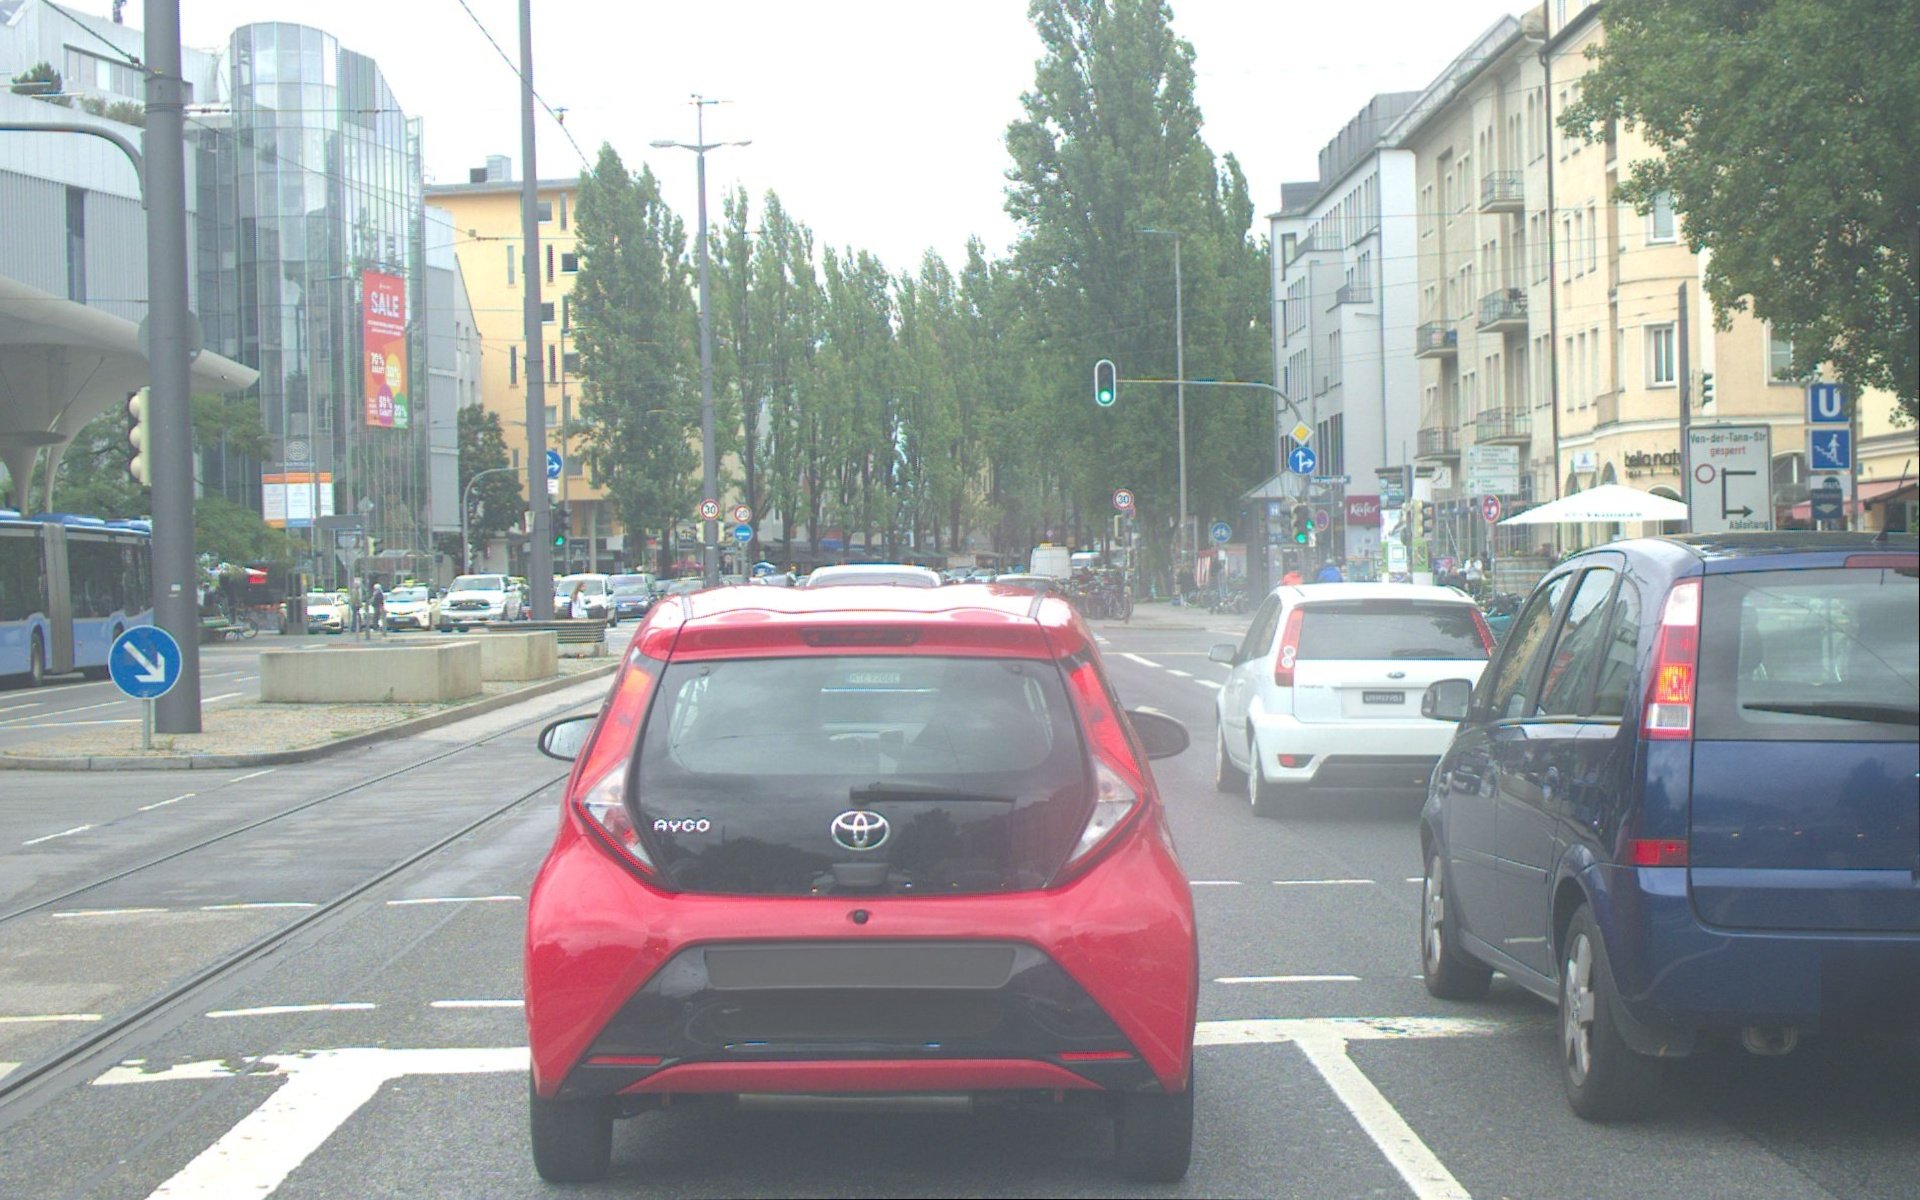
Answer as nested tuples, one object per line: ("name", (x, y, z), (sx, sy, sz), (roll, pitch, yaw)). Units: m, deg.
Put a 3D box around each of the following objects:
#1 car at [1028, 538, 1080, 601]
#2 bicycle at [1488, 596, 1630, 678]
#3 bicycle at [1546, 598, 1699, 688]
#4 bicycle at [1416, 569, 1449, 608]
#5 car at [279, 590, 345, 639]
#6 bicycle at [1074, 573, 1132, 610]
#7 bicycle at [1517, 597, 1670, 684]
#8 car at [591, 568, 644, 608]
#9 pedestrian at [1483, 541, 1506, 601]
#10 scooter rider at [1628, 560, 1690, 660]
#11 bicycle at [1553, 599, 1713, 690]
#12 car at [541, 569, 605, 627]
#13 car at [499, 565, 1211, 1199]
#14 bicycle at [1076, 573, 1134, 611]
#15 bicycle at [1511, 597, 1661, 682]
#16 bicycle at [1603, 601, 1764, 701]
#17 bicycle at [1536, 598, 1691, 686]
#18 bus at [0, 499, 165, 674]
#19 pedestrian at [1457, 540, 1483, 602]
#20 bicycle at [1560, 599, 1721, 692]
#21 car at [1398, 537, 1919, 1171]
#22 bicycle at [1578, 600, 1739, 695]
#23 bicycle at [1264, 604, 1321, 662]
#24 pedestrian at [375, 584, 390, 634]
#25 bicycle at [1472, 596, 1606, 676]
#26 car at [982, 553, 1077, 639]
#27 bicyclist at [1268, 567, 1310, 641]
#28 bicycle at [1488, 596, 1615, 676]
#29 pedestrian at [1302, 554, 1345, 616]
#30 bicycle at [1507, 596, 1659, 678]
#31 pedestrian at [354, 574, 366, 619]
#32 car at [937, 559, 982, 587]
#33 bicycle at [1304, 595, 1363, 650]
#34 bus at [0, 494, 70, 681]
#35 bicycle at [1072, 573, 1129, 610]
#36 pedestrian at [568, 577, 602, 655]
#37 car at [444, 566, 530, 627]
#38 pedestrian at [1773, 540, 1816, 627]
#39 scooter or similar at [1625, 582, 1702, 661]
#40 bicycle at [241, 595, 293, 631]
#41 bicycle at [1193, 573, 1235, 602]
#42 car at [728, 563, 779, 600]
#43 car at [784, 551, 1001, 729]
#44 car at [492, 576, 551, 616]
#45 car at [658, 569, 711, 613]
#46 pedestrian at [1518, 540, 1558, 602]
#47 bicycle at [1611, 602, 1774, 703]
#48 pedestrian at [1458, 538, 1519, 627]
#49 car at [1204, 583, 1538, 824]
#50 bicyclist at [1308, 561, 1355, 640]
("car", (4.148, -1.356, 153.010), (2.107, 2.709, 4.804), (-2, 1, 0))
("bicycle", (7.608, 0.457, 43.726), (1.840, 0.992, 0.324), (1, 2, 37))
("bicycle", (7.735, 0.496, 40.186), (1.841, 0.992, 0.374), (1, 2, 44))
("bicycle", (13.298, -0.331, 96.860), (0.494, 1.055, 1.867), (-1, 1, -5))
("car", (-22.346, 0.471, 118.413), (1.993, 1.531, 4.416), (-2, 1, -13))
("bicycle", (4.573, -0.266, 110.094), (1.801, 1.154, 0.486), (-1, 1, 26))
("bicycle", (7.648, 0.481, 41.560), (1.840, 0.992, 0.374), (1, 2, 37))
("car", (-12.729, -0.471, 127.818), (1.677, 1.391, 4.233), (-2, 1, -3))
("pedestrian", (14.769, -0.796, 95.057), (0.561, 1.604, 0.567), (-1, 4, 13))
("scooter rider", (9.877, 0.141, 48.580), (0.700, 1.384, 0.643), (-1, 0, -2))
("bicycle", (7.738, 0.503, 39.563), (1.840, 0.992, 0.374), (1, 2, 38))
("car", (-12.860, -0.081, 114.359), (1.786, 1.849, 4.219), (-2, 1, -3))
("car", (-0.225, 0.642, 9.327), (1.605, 1.456, 3.130), (0, 1, 1))
("bicycle", (4.573, -0.251, 108.601), (1.803, 1.154, 0.547), (-1, 1, 38))
("bicycle", (7.696, 0.474, 42.308), (1.840, 0.992, 0.374), (1, 2, 37))
("bicycle", (7.704, 0.533, 36.674), (0.374, 0.992, 1.841), (-2, 2, -40))
("bicycle", (7.766, 0.489, 40.924), (1.840, 0.992, 0.374), (1, 2, 37))
("bus", (-16.956, -0.236, 63.678), (2.660, 2.997, 7.513), (-3, 1, -1))
("pedestrian", (14.093, -0.805, 94.967), (0.566, 1.665, 0.562), (0, 4, 22))
("bicycle", (7.686, 0.509, 38.882), (1.840, 0.992, 0.374), (1, 2, 41))
("car", (2.420, 0.611, 10.415), (1.703, 1.584, 3.556), (-1, 1, 0))
("bicycle", (7.734, 0.518, 38.132), (1.841, 0.992, 0.374), (1, 2, 45))
("bicycle", (7.543, 0.736, 78.155), (0.613, 1.260, 2.520), (-2, 1, -10))
("pedestrian", (-20.269, 0.322, 120.682), (0.445, 1.754, 0.356), (-1, 1, -11))
("bicycle", (7.577, 0.464, 45.036), (1.840, 0.992, 0.324), (1, 2, 42))
("car", (1.562, -0.113, 78.555), (1.993, 1.831, 4.000), (-2, 1, -1))
("bicyclist", (7.491, 0.094, 78.258), (0.613, 1.652, 1.251), (-2, 1, -10))
("bicycle", (7.796, 0.464, 45.370), (0.324, 0.992, 1.841), (-2, 2, -43))
("pedestrian", (10.057, -0.408, 95.123), (0.836, 1.685, 0.818), (-1, 1, 37))
("bicycle", (7.805, 0.462, 43.105), (1.838, 0.992, 0.375), (0, 2, 24))
("pedestrian", (-21.065, -0.116, 120.630), (0.353, 1.562, 0.270), (-2, 1, -12))
("car", (-0.022, -1.755, 222.746), (1.995, 1.722, 3.915), (-1, 1, 13))
("bicycle", (8.908, 0.530, 82.076), (0.613, 1.260, 2.520), (-2, 1, -12))
("bus", (-16.681, -0.138, 54.624), (2.660, 2.997, 10.517), (-3, 1, -3))
("bicycle", (4.476, -0.259, 109.284), (1.803, 1.154, 0.547), (-1, 1, 38))
("pedestrian", (-7.929, 0.338, 72.655), (0.521, 1.613, 0.463), (-1, 1, 43))
("car", (-15.386, -0.140, 112.129), (2.175, 1.881, 6.157), (-2, 1, -2))
("pedestrian", (15.896, -0.313, 65.496), (0.614, 1.627, 0.678), (-1, 0, 0))
("scooter or similar", (9.924, 0.295, 48.525), (0.775, 1.071, 1.256), (-1, 1, -2))
("bicycle", (-22.058, 0.406, 109.472), (1.574, 1.108, 0.373), (-1, 1, 4))
("bicycle", (8.919, -0.440, 120.802), (1.401, 0.960, 0.369), (-2, 1, -5))
("car", (-9.929, -0.897, 165.935), (1.743, 1.664, 4.731), (-2, 1, 5))
("car", (-0.667, 0.353, 34.246), (1.993, 1.612, 4.000), (-2, 1, -1))
("car", (-15.824, -0.161, 124.185), (1.672, 1.374, 4.614), (-1, 1, -2))
("car", (-9.524, -0.327, 118.875), (1.545, 1.440, 3.539), (-2, 1, -1))
("pedestrian", (16.491, -0.833, 98.084), (0.933, 1.749, 1.065), (-1, 1, 0))
("bicycle", (7.665, 0.539, 36.032), (0.374, 0.992, 1.841), (-2, 2, -40))
("pedestrian", (10.558, -0.348, 68.731), (0.881, 1.737, 0.858), (-1, 0, -17))
("car", (2.589, 0.610, 22.355), (1.699, 1.421, 3.497), (0, 1, -1))
("bicyclist", (8.885, 0.003, 82.265), (0.762, 1.863, 1.133), (-2, 1, -12))
